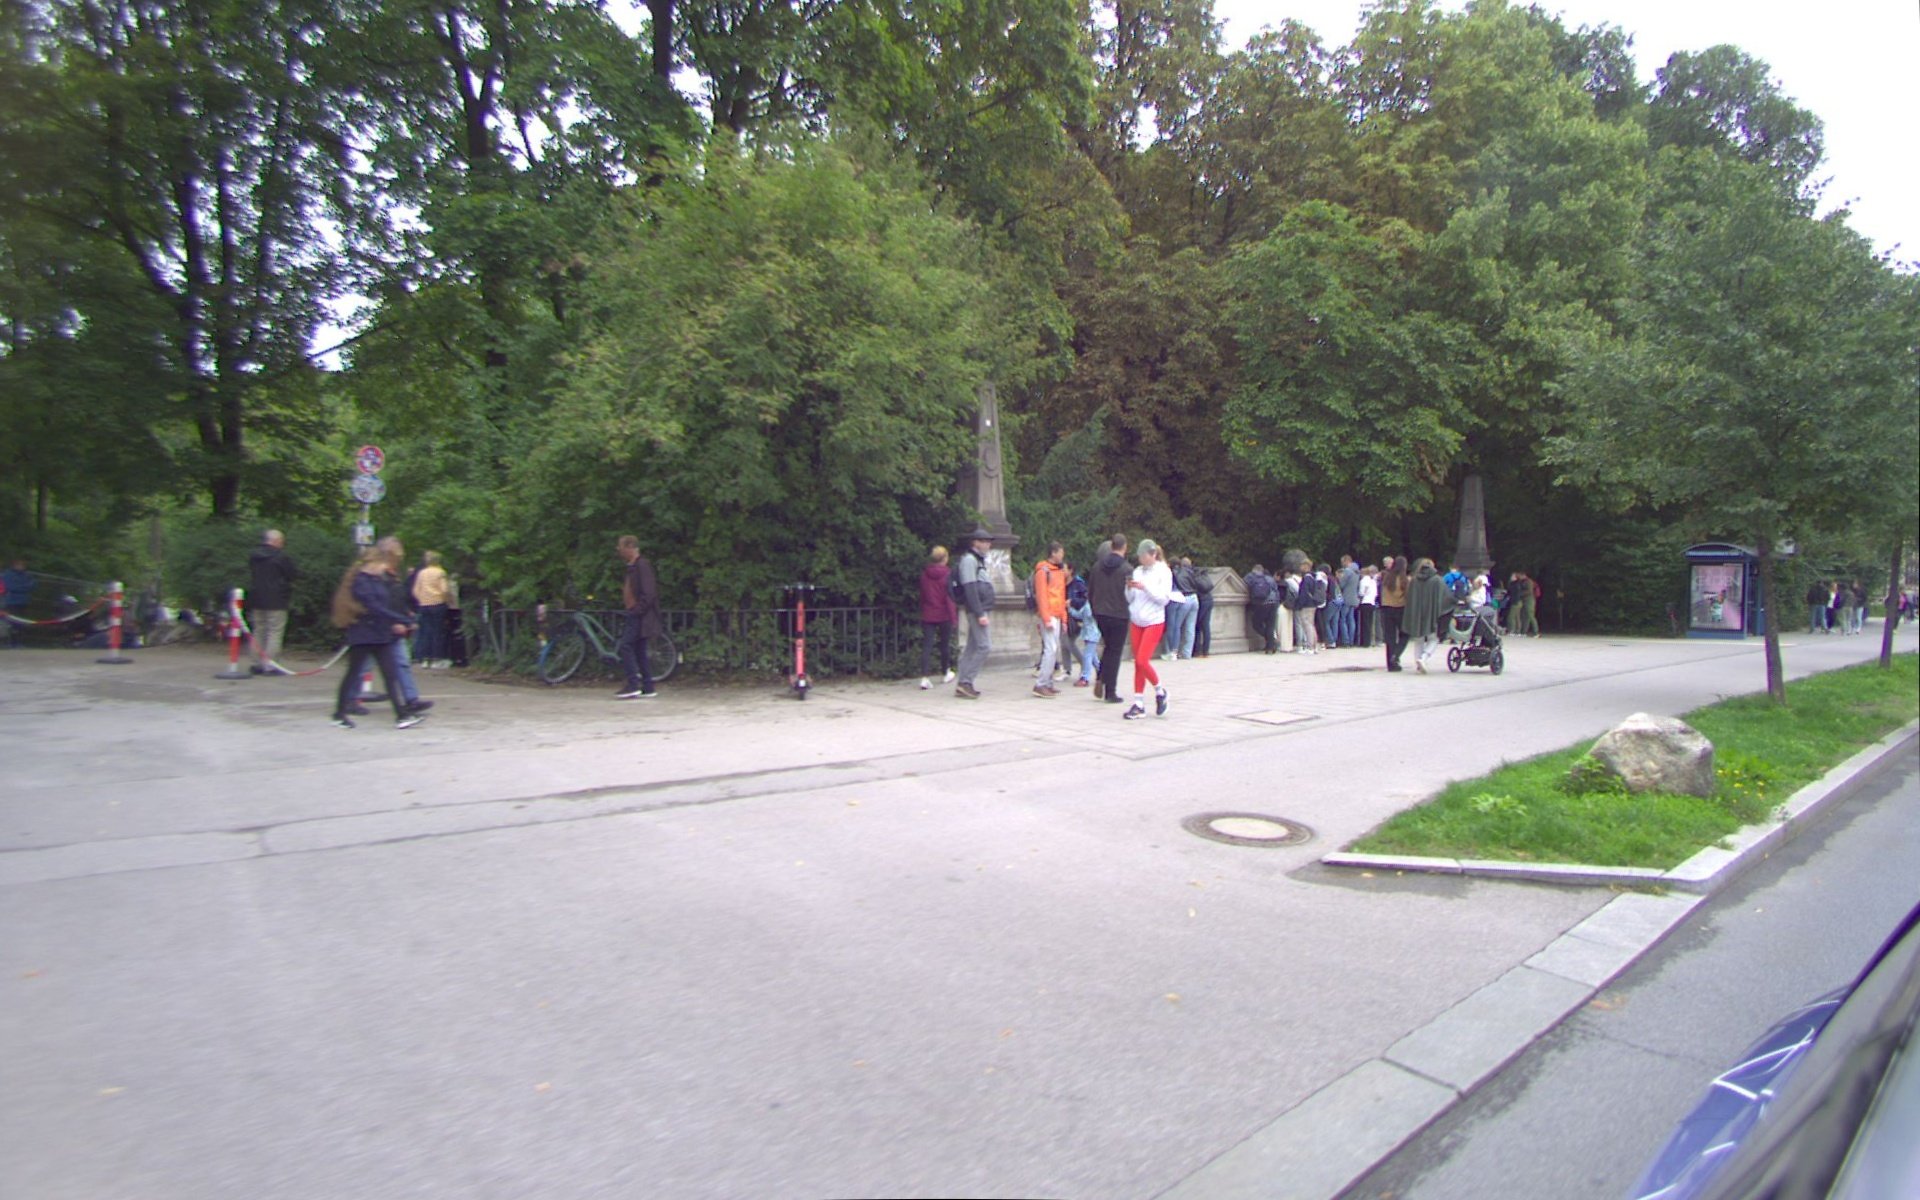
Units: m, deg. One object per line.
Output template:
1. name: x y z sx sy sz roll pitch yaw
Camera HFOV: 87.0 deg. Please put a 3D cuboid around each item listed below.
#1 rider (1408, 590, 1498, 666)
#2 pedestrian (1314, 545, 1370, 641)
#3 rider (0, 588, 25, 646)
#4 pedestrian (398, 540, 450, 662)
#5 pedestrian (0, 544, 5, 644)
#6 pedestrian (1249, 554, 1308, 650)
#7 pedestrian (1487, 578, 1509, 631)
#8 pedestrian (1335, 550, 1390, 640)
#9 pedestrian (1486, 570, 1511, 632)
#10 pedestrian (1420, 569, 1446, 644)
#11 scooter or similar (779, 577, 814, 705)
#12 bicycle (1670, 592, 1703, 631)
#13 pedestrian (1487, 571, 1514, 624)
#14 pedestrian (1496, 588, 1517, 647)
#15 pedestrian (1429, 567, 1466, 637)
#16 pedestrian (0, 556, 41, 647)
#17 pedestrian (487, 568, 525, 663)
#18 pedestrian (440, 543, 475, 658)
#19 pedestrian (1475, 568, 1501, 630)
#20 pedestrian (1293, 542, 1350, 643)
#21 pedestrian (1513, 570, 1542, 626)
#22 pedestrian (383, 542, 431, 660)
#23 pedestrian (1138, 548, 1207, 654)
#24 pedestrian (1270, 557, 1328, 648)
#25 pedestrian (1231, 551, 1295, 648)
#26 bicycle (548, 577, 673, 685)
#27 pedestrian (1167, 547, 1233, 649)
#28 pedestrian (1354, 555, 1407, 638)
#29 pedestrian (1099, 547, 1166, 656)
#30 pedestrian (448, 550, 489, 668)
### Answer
1. rider: 7.635 0.412 15.673 1.221 1.126 0.767 0 0 -36
2. pedestrian: 7.751 -0.140 20.524 0.715 1.898 0.814 0 0 -38
3. rider: -16.164 0.281 16.892 0.884 0.953 0.605 0 0 31
4. pedestrian: -8.001 0.016 15.115 0.556 1.785 0.523 0 0 -9
5. pedestrian: -16.844 -0.106 17.297 0.687 1.717 0.605 0 0 31
6. pedestrian: 6.017 0.022 19.148 0.715 1.761 0.814 0 0 -38
7. pedestrian: 15.646 0.116 29.438 0.434 1.526 0.421 0 0 -38
8. pedestrian: 8.344 -0.108 20.975 0.715 1.813 0.814 0 0 -38
9. pedestrian: 13.458 0.012 25.294 0.434 1.526 0.421 0 0 -38
10. pedestrian: 11.034 0.141 23.606 0.435 1.725 0.421 0 0 -41
11. scooter or similar: -1.775 0.399 10.913 0.341 1.272 1.570 0 1 -10
12. bicycle: 20.461 0.301 28.491 1.549 1.073 0.393 0 0 -41
13. pedestrian: 18.336 -0.093 34.345 0.522 1.790 0.639 0 0 -9
14. pedestrian: 16.050 0.498 29.732 0.434 1.725 0.421 0 0 -38
15. pedestrian: 11.691 0.042 24.252 0.523 1.637 0.638 0 0 -38
16. pedestrian: -18.165 0.025 19.431 0.687 1.717 0.605 0 0 31
17. pedestrian: -7.242 0.237 16.156 0.507 1.492 0.409 0 0 -18
18. pedestrian: -7.960 0.003 16.029 0.427 1.785 0.528 0 0 -18
19. pedestrian: 13.070 -0.027 25.040 0.434 1.526 0.421 0 0 -38
20. pedestrian: 7.157 -0.153 20.050 0.715 1.941 0.814 0 0 -38
21. pedestrian: 18.183 -0.066 32.412 0.522 1.790 0.639 0 0 -9
22. pedestrian: -8.556 0.008 15.676 0.540 1.785 0.612 0 0 -18
23. pedestrian: 3.562 0.003 16.954 0.715 1.711 0.814 0 3 -38
24. pedestrian: 6.566 0.032 19.605 0.715 1.712 0.814 0 0 -38
25. pedestrian: 5.533 -0.022 18.500 0.715 1.711 0.814 0 3 -38
26. bicycle: -4.259 0.354 12.309 1.581 1.255 0.389 0 0 23
27. pedestrian: 4.139 -0.050 17.475 0.715 1.711 0.814 0 2 -38
28. pedestrian: 8.899 -0.072 21.419 0.661 1.712 0.814 0 0 -38
29. pedestrian: 2.788 0.020 16.372 0.715 1.712 0.814 0 0 -38
30. pedestrian: -7.573 0.133 15.605 0.507 1.785 0.409 0 0 -18
